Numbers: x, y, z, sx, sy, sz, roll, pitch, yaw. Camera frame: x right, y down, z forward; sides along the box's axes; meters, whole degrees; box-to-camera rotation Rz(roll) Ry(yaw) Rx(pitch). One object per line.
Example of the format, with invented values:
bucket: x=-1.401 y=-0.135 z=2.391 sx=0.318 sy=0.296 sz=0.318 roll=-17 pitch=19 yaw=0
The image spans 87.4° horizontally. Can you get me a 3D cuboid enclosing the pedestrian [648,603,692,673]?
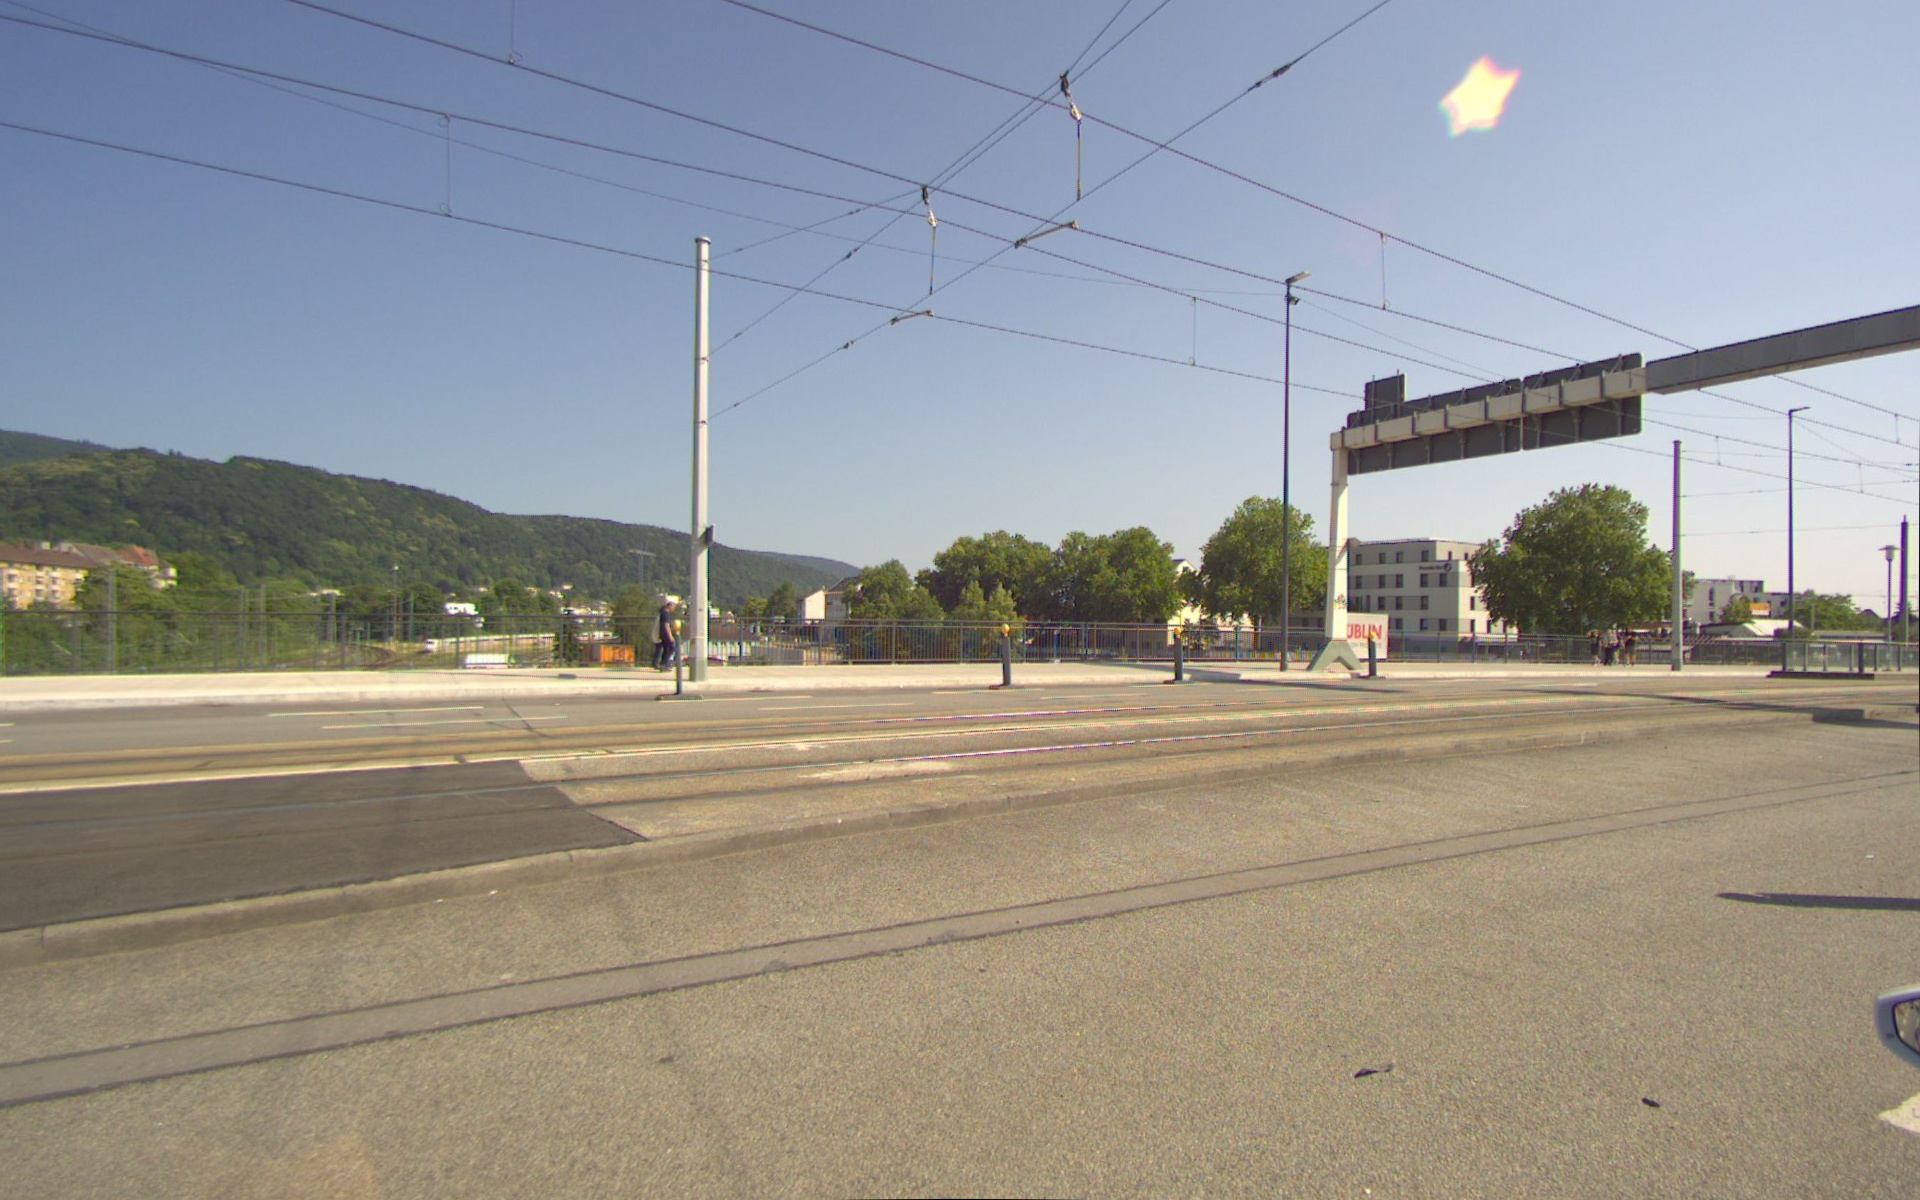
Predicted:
pedestrian: x=-7.157 y=0.928 z=24.781 sx=0.884 sy=1.664 sz=0.740 roll=1 pitch=2 yaw=-31

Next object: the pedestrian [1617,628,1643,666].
pedestrian: x=31.027 y=2.168 z=46.525 sx=0.722 sy=1.709 sz=0.750 roll=1 pitch=-1 yaw=-27

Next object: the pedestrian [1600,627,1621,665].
pedestrian: x=29.722 y=2.092 z=45.924 sx=0.797 sy=1.709 sz=0.484 roll=1 pitch=-1 yaw=-27

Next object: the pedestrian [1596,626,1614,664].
pedestrian: x=30.000 y=2.088 z=46.724 sx=0.760 sy=1.709 sz=0.382 roll=1 pitch=-1 yaw=-27

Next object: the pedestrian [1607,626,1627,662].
pedestrian: x=31.382 y=2.107 z=47.993 sx=0.763 sy=1.709 sz=0.502 roll=1 pitch=-1 yaw=-27

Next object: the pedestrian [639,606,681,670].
pedestrian: x=-7.635 y=0.966 z=25.560 sx=0.878 sy=1.565 sz=0.716 roll=1 pitch=2 yaw=-31

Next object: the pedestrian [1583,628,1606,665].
pedestrian: x=29.274 y=2.132 z=46.327 sx=0.807 sy=1.709 sz=0.595 roll=1 pitch=-1 yaw=-27
